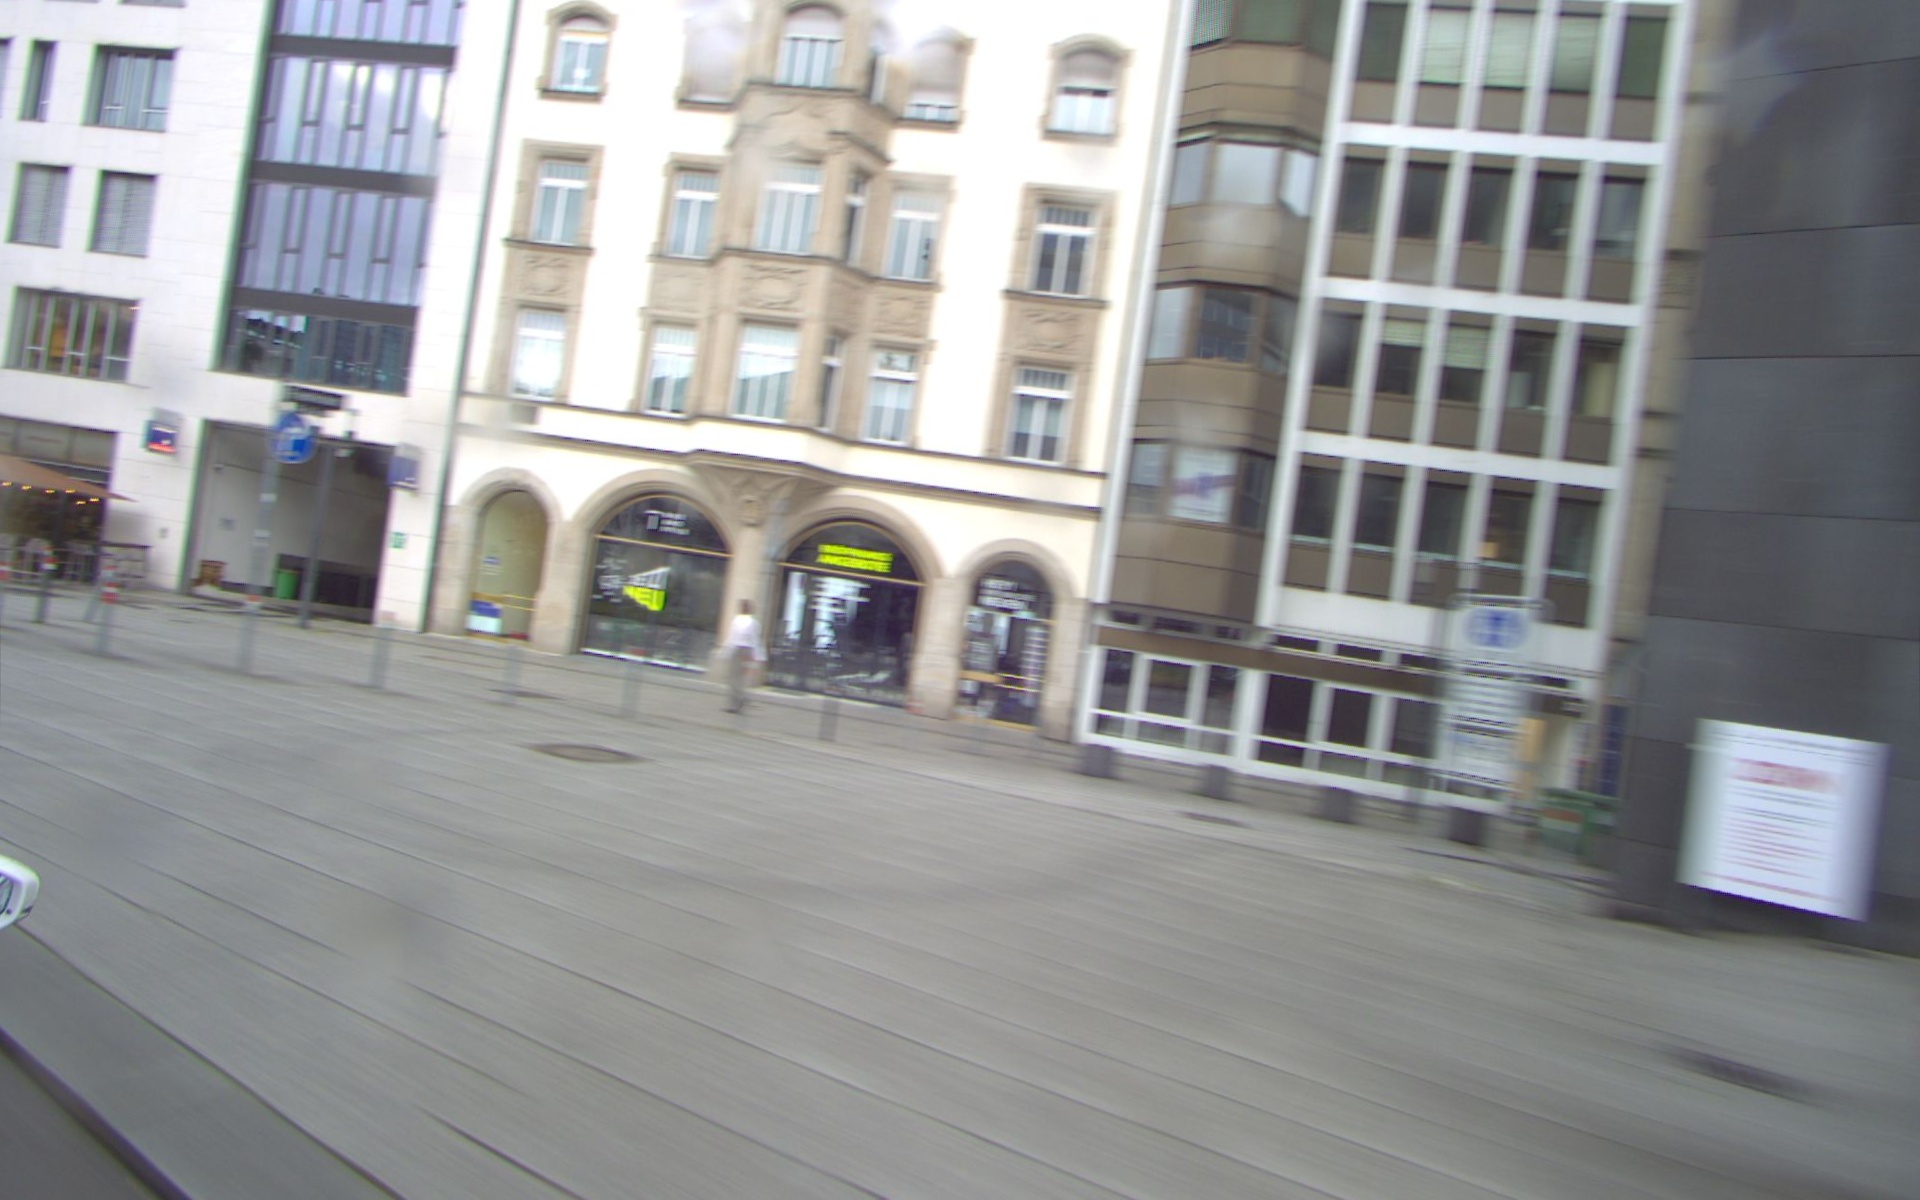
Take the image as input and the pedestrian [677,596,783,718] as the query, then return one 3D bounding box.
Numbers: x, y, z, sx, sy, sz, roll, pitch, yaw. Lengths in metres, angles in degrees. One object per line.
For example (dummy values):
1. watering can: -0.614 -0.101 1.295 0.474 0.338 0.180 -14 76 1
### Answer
1. pedestrian: -3.856 0.964 16.931 1.226 1.857 0.876 6 -4 20
